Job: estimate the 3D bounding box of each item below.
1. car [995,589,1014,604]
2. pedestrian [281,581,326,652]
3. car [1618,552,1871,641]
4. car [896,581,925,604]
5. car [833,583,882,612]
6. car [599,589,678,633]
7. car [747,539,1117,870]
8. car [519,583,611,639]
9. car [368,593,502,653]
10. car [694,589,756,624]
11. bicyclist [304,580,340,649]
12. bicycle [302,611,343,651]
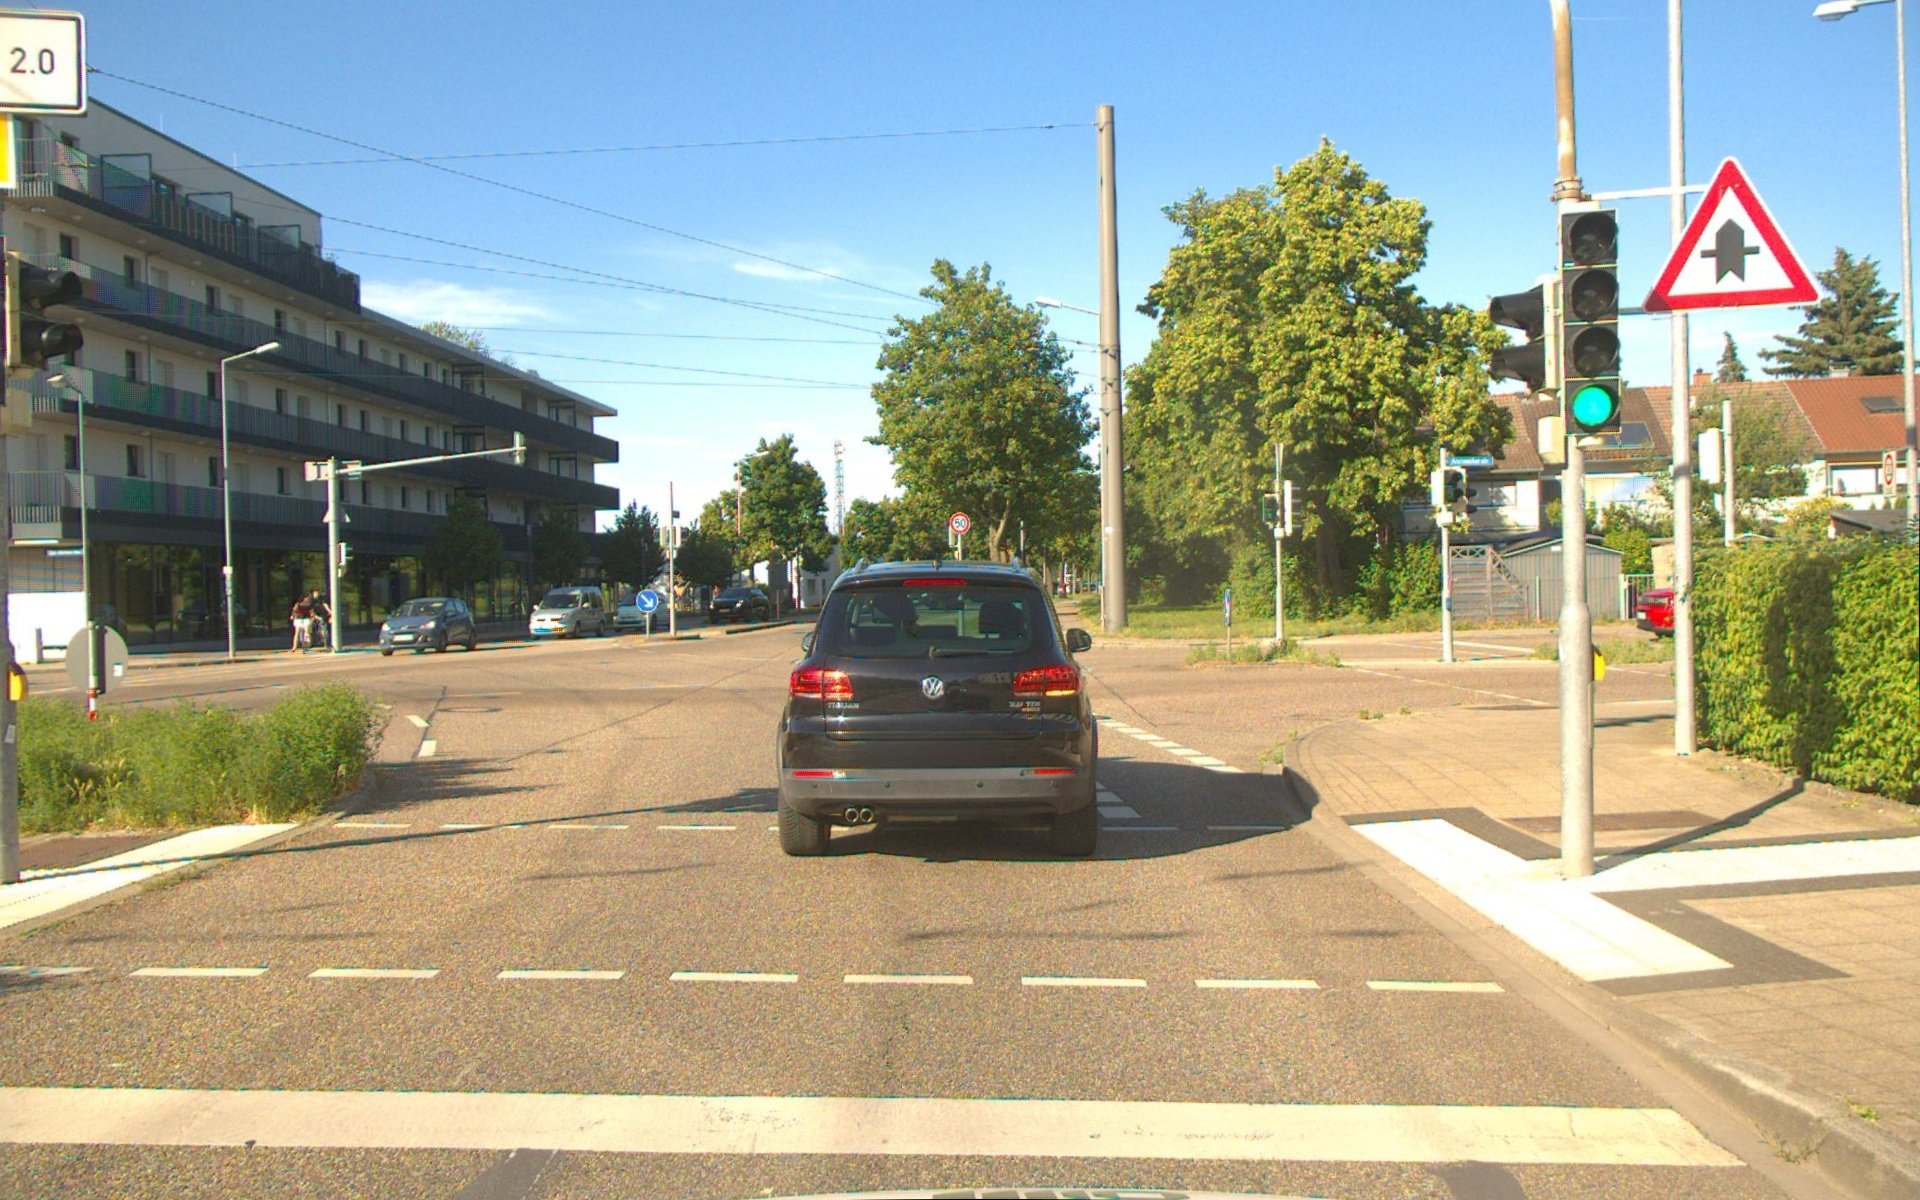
[{"bbox_3d":[5.412,-0.462,200.722,1.855,1.789,4.003,1,0,6],"label":"car"},{"bbox_3d":[-19.344,0.473,48.728,0.957,2.049,0.760,-2,0,-1],"label":"pedestrian"},{"bbox_3d":[15.364,-0.071,32.578,4.079,1.616,1.948,-1,1,5],"label":"car"},{"bbox_3d":[-4.025,-0.612,135.550,1.952,1.768,5.201,-2,0,3],"label":"car"},{"bbox_3d":[-5.922,-0.168,95.865,1.951,1.599,4.004,-2,0,9],"label":"car"},{"bbox_3d":[-12.604,0.416,65.024,1.951,1.513,3.547,-3,0,7],"label":"car"},{"bbox_3d":[-0.037,0.523,10.780,1.889,1.683,4.516,1,0,3],"label":"car"},{"bbox_3d":[-13.550,0.350,57.013,1.952,1.786,4.363,-1,0,2],"label":"car"},{"bbox_3d":[-14.274,0.602,45.245,1.659,1.482,4.457,-2,0,9],"label":"car"},{"bbox_3d":[-10.927,0.282,77.202,1.926,1.561,4.742,-2,0,3],"label":"car"},{"bbox_3d":[-19.428,0.438,50.344,0.803,2.049,0.784,-2,0,-38],"label":"bicyclist"},{"bbox_3d":[-19.405,0.932,50.339,0.737,1.164,1.621,-2,0,-37],"label":"bicycle"}]
